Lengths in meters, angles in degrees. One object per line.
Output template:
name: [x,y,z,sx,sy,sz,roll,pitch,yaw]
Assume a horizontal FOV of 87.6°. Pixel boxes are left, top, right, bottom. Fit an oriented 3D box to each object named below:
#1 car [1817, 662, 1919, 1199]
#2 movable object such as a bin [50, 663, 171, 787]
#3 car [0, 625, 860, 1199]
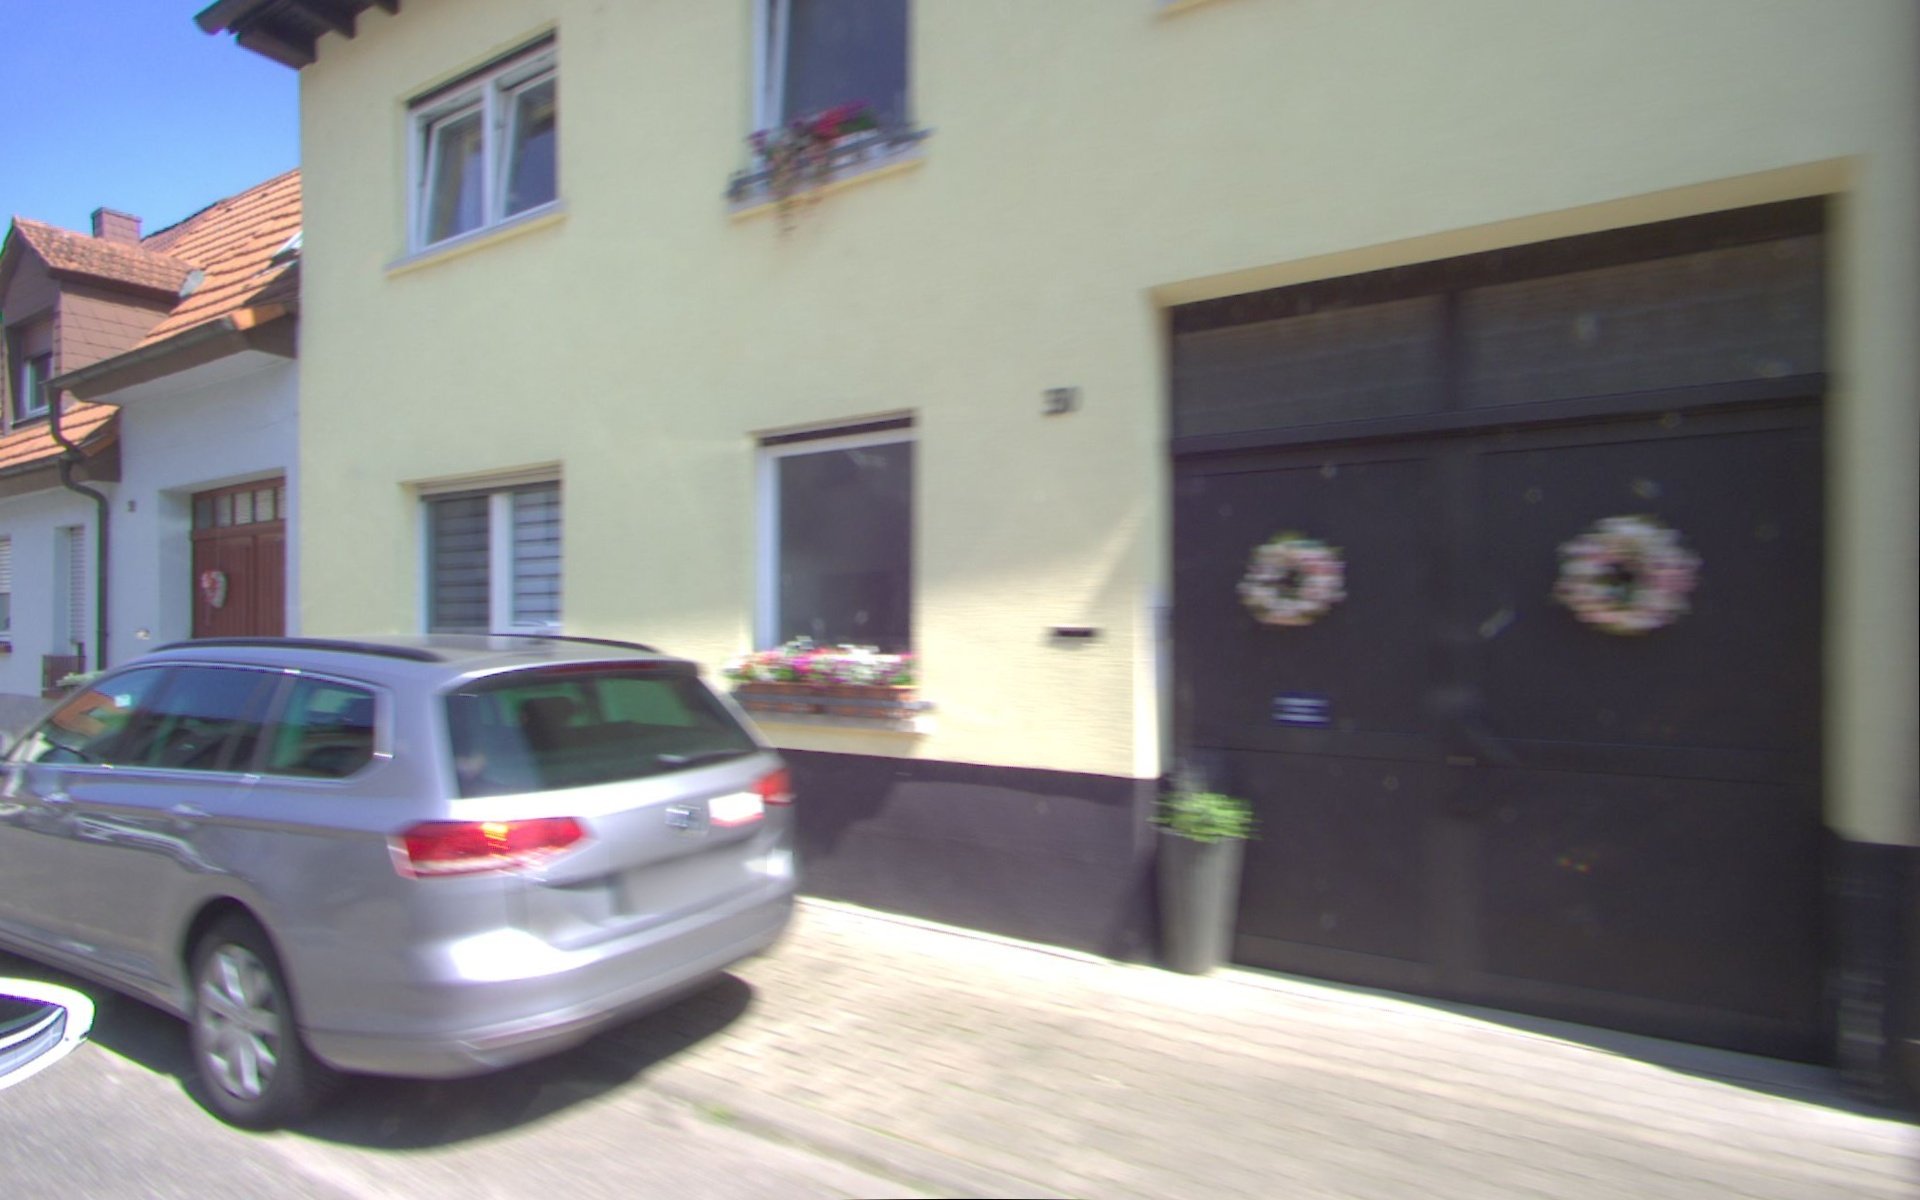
car: [3.251,0.808,0.485,4.042,1.453,1.695,-1,-2,31]
movable object such as a bin: [-8.132,1.166,9.588,0.801,1.085,0.658,0,-1,30]
car: [-2.880,0.858,4.378,4.705,1.466,1.836,-1,-2,31]
